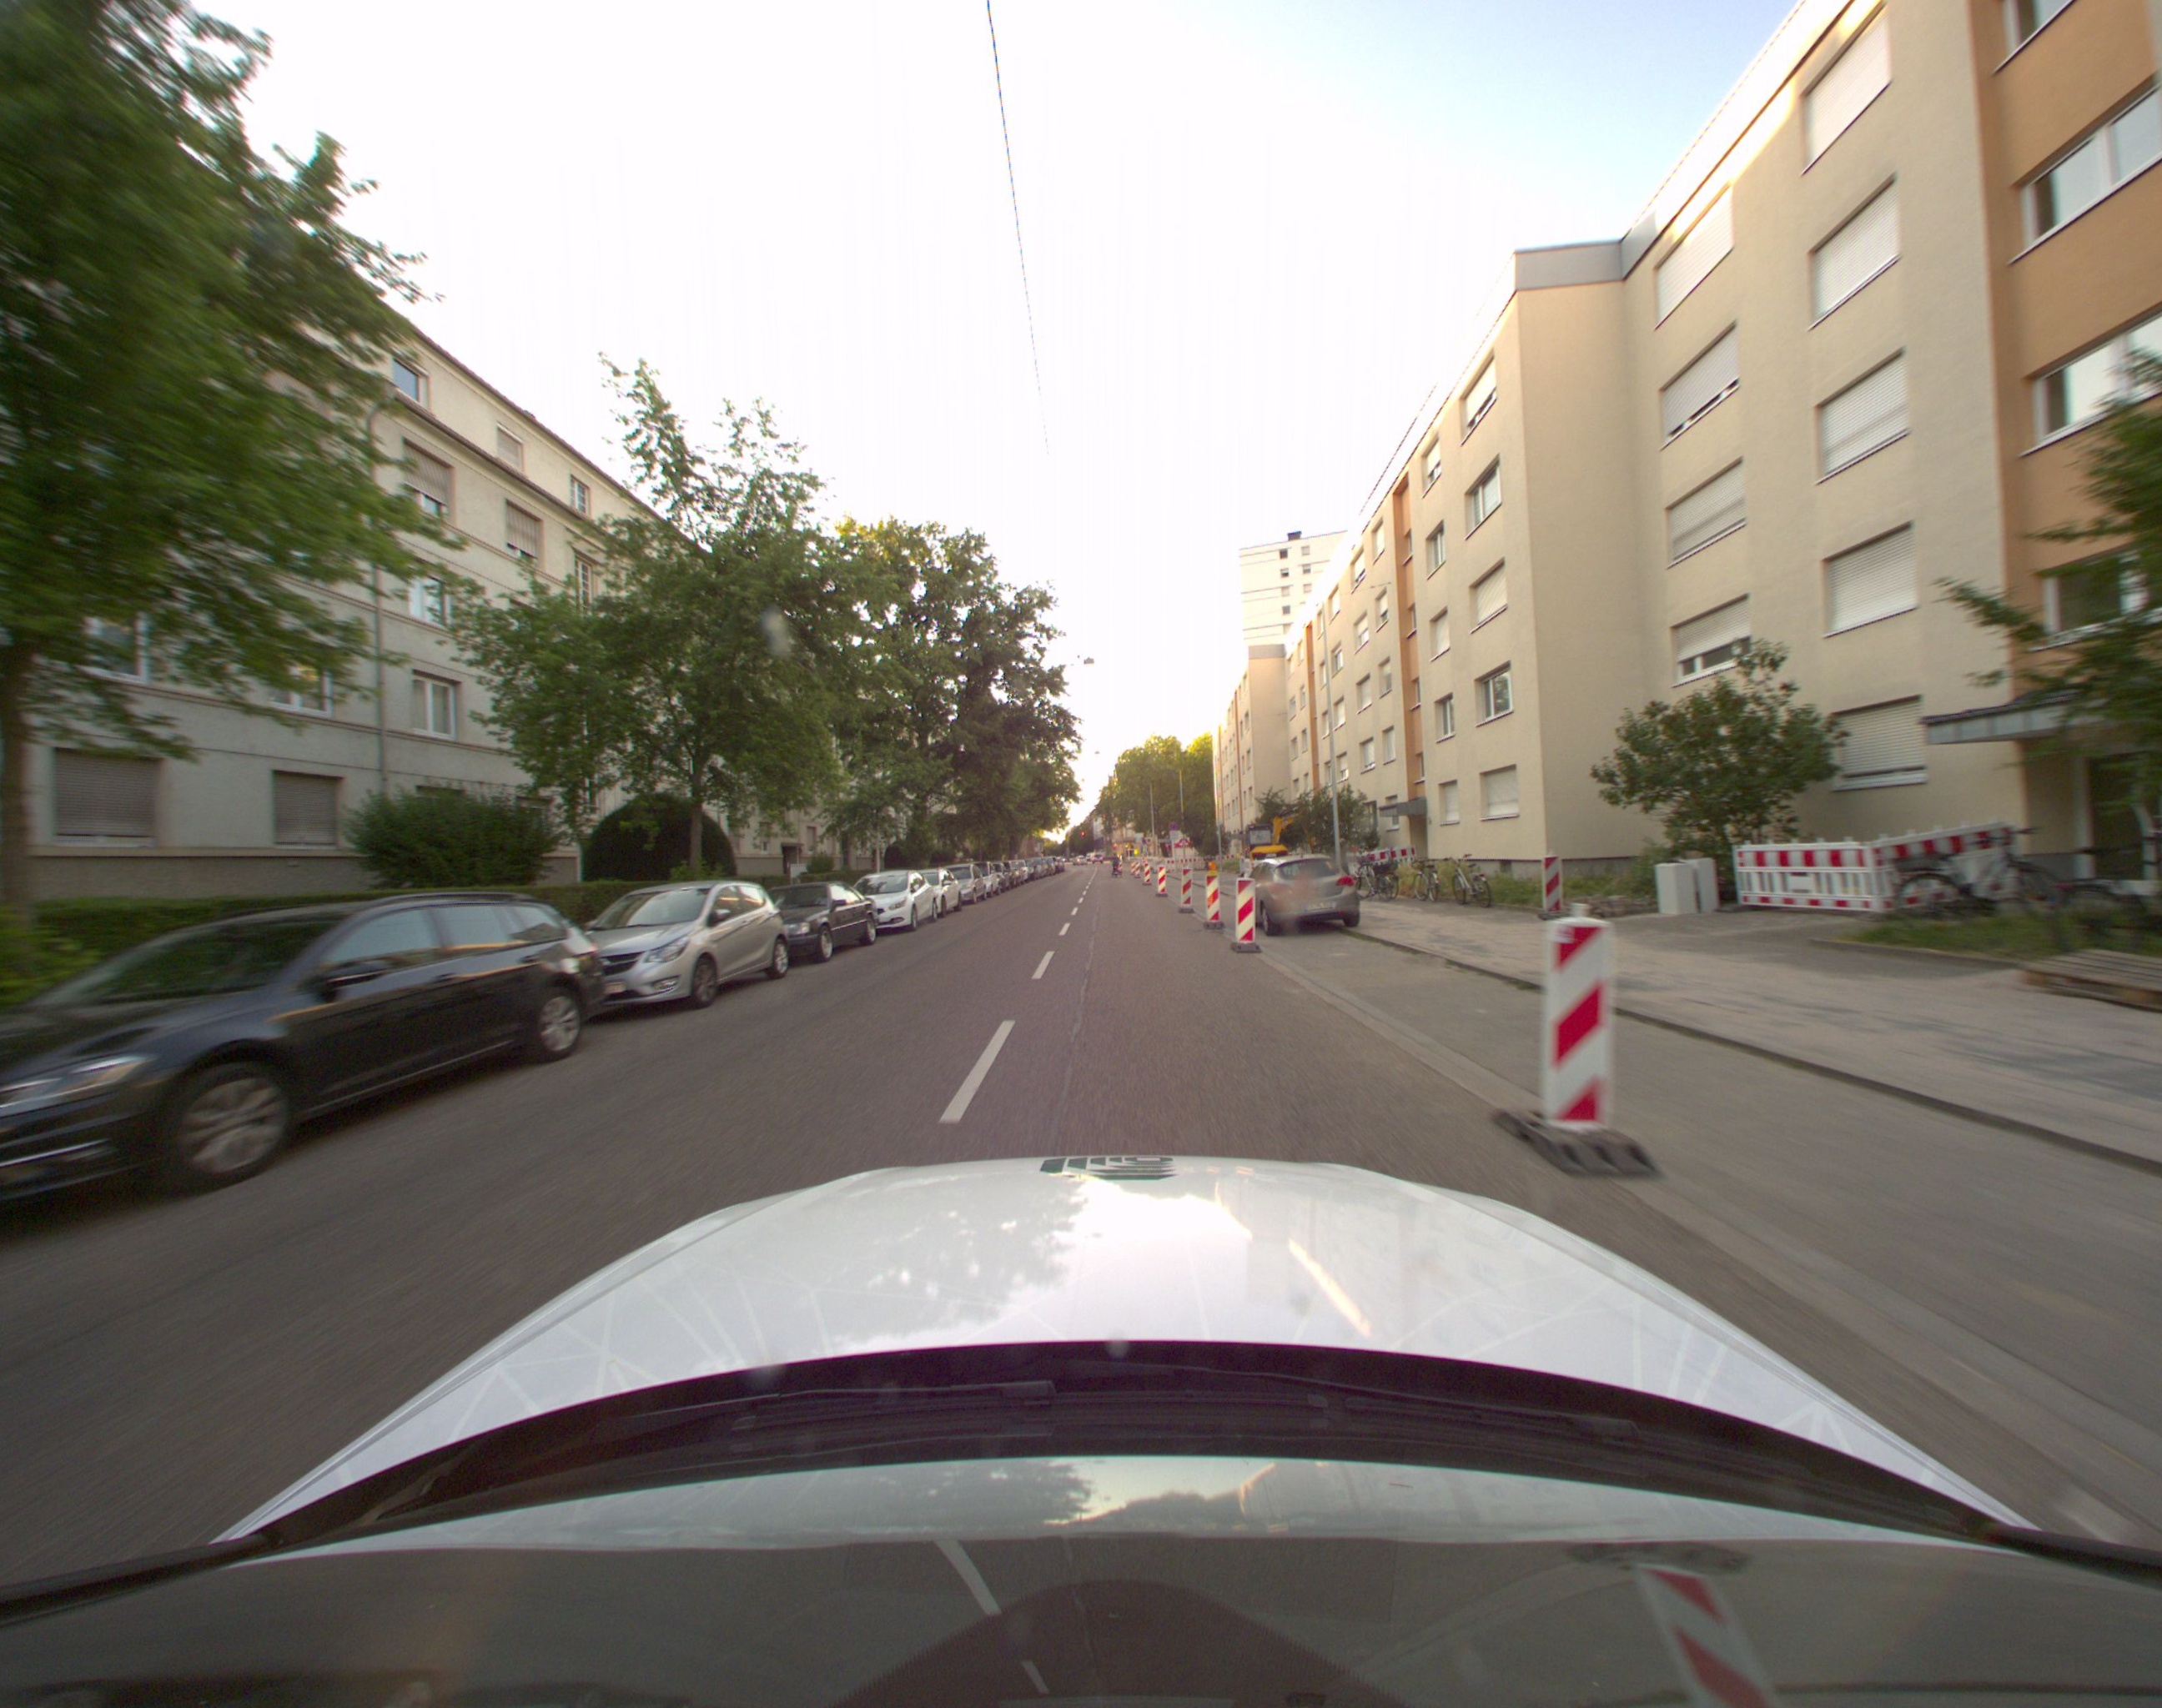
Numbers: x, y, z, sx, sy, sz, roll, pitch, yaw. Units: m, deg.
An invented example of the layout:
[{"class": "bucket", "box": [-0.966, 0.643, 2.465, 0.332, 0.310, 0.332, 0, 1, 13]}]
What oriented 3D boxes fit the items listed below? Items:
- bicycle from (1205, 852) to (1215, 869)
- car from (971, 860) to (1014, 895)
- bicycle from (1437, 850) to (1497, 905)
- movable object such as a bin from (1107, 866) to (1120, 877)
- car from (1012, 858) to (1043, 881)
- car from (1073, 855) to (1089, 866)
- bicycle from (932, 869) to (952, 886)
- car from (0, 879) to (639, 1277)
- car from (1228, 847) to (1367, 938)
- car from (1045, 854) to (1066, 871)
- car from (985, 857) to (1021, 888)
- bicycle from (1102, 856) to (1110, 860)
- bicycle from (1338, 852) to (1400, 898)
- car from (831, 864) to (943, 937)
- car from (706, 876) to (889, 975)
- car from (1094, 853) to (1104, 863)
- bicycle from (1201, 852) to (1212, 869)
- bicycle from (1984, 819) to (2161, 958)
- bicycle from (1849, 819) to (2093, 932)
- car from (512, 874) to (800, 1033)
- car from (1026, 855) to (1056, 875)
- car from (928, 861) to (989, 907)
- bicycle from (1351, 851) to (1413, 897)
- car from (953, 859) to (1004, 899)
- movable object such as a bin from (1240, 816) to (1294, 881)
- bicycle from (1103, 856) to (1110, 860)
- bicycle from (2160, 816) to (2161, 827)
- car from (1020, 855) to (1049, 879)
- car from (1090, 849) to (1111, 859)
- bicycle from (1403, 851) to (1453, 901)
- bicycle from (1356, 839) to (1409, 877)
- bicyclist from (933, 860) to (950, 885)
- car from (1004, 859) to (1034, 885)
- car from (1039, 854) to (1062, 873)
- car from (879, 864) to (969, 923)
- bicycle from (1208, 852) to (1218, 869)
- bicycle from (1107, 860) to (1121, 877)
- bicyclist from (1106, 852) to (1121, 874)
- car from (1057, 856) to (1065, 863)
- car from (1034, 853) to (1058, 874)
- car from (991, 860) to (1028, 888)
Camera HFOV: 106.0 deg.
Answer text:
[{"class": "bicycle", "box": [9.934, 0.496, 62.847, 0.396, 1.222, 1.910, -2, 0, 0]}, {"class": "car", "box": [-4.338, 1.111, 40.353, 1.585, 1.466, 4.101, -5, 0, 0]}, {"class": "bicycle", "box": [8.624, 0.502, 18.256, 0.553, 1.172, 1.819, -2, 0, 4]}, {"class": "movable object such as a bin", "box": [2.439, 1.319, 60.676, 0.935, 0.689, 0.994, -5, -1, 3]}, {"class": "car", "box": [-3.836, 1.103, 58.576, 1.701, 1.452, 3.845, -5, 0, 2]}, {"class": "car", "box": [-0.079, 1.122, 136.968, 1.867, 1.585, 3.984, -3, 0, -11]}, {"class": "bicycle", "box": [-8.175, 1.379, 47.886, 0.805, 0.911, 1.762, -2, 0, 1]}, {"class": "car", "box": [-5.254, 1.054, 5.600, 1.747, 1.479, 4.678, -5, 0, 0]}, {"class": "car", "box": [4.364, 0.708, 17.184, 1.769, 1.490, 4.576, -6, 0, 3]}, {"class": "car", "box": [-2.739, 0.910, 88.350, 1.947, 1.616, 4.606, -4, 0, 1]}, {"class": "car", "box": [-4.256, 0.992, 44.627, 1.518, 1.529, 3.164, -5, 0, 0]}, {"class": "bicycle", "box": [6.454, 0.959, 208.196, 1.909, 0.968, 0.545, -2, 0, -1]}, {"class": "bicycle", "box": [7.695, 0.545, 21.847, 0.557, 1.172, 1.805, -2, 0, -18]}, {"class": "car", "box": [-4.725, 1.073, 20.438, 1.687, 1.459, 4.144, -5, 0, 0]}, {"class": "car", "box": [-5.058, 1.199, 15.280, 1.669, 1.331, 4.580, -5, 0, 1]}, {"class": "car", "box": [3.358, 0.765, 152.309, 1.860, 1.815, 3.999, -3, 0, 0]}, {"class": "bicycle", "box": [9.658, 0.500, 62.761, 0.450, 1.222, 1.910, -2, 0, 0]}, {"class": "bicycle", "box": [9.276, 0.268, 7.197, 1.804, 1.022, 0.558, -7, -1, 2]}, {"class": "bicycle", "box": [9.695, 0.234, 8.927, 1.742, 0.986, 0.559, -8, -1, 10]}, {"class": "car", "box": [-5.146, 1.099, 10.491, 1.669, 1.459, 3.704, -5, 0, -1]}, {"class": "car", "box": [-3.282, 0.891, 67.795, 1.724, 1.497, 4.277, -4, 0, 6]}, {"class": "car", "box": [-4.640, 1.113, 31.305, 1.584, 1.505, 3.800, -5, 0, 1]}, {"class": "bicycle", "box": [8.226, 0.540, 22.341, 0.627, 1.172, 1.807, -2, 0, -15]}, {"class": "car", "box": [-4.457, 1.068, 35.769, 1.583, 1.529, 2.924, -5, 0, 3]}, {"class": "movable object such as a bin", "box": [8.178, -0.232, 36.028, 1.923, 2.693, 2.896, -2, 0, 6]}, {"class": "bicycle", "box": [6.491, 1.075, 208.308, 1.909, 0.968, 0.545, -2, 0, -1]}, {"class": "bicycle", "box": [11.147, 0.103, 7.955, 1.826, 0.921, 0.551, -6, -2, -40]}, {"class": "car", "box": [-3.572, 0.979, 62.992, 1.701, 1.600, 4.118, -5, 0, 1]}, {"class": "car", "box": [5.176, -0.028, 214.575, 5.855, 2.288, 2.047, -2, 0, -42]}, {"class": "bicycle", "box": [8.635, 0.518, 20.305, 0.553, 1.172, 1.819, -2, 0, 4]}, {"class": "bicycle", "box": [10.160, 0.125, 27.423, 1.590, 1.222, 0.484, -2, 0, -5]}, {"class": "bicyclist", "box": [-8.183, 1.068, 47.777, 0.805, 1.404, 0.974, -2, 0, 1]}, {"class": "car", "box": [-4.117, 1.143, 54.184, 1.585, 1.538, 4.205, -5, 0, -1]}, {"class": "car", "box": [-2.974, 0.911, 80.511, 1.947, 1.719, 4.771, -4, 0, 1]}, {"class": "car", "box": [-4.716, 1.140, 25.137, 1.686, 1.459, 4.484, -5, 0, 1]}, {"class": "bicycle", "box": [10.182, 0.490, 62.775, 0.396, 1.222, 1.825, -2, 0, 0]}, {"class": "bicycle", "box": [2.521, 1.094, 62.352, 0.935, 1.172, 2.361, -5, -1, 3]}, {"class": "bicyclist", "box": [2.483, 0.667, 62.377, 0.935, 1.581, 1.147, -5, -1, 3]}, {"class": "car", "box": [-5.361, 1.489, 219.215, 1.779, 1.651, 3.812, -1, 0, -6]}, {"class": "car", "box": [-3.076, 0.871, 73.255, 1.841, 1.690, 4.858, -4, 0, 0]}, {"class": "car", "box": [-4.223, 1.167, 48.775, 1.584, 1.404, 4.182, -5, 0, 2]}]
